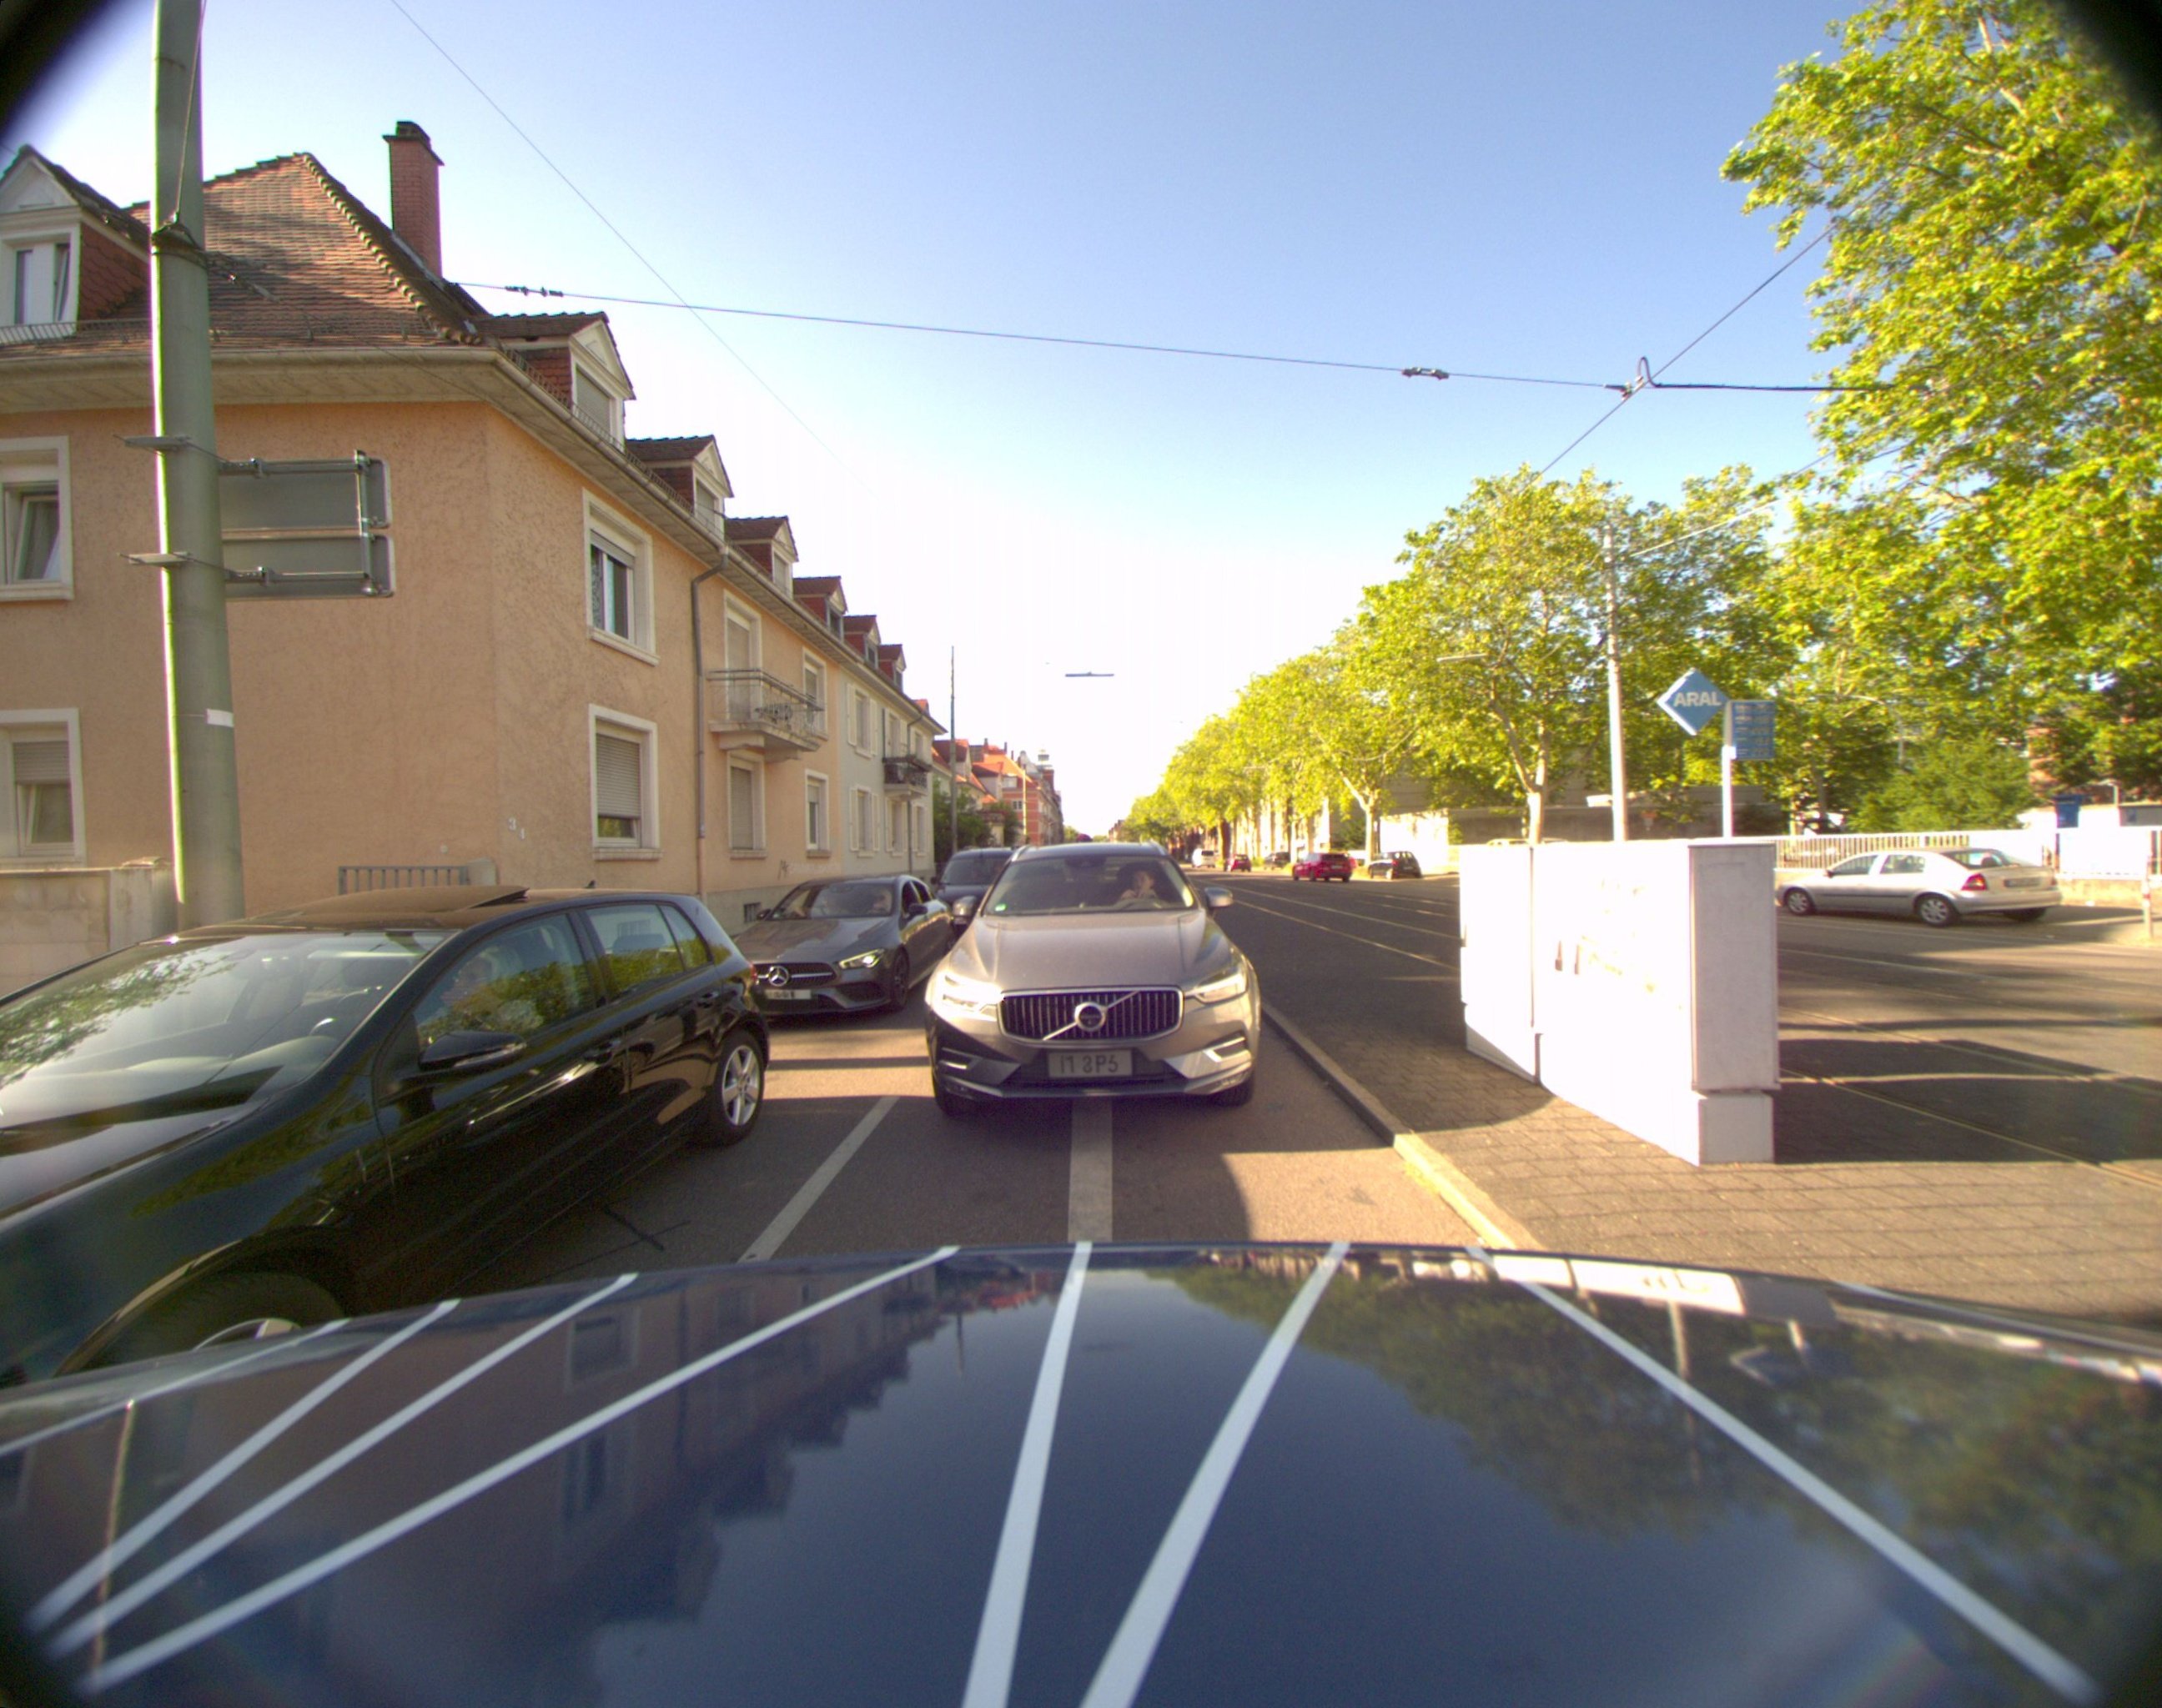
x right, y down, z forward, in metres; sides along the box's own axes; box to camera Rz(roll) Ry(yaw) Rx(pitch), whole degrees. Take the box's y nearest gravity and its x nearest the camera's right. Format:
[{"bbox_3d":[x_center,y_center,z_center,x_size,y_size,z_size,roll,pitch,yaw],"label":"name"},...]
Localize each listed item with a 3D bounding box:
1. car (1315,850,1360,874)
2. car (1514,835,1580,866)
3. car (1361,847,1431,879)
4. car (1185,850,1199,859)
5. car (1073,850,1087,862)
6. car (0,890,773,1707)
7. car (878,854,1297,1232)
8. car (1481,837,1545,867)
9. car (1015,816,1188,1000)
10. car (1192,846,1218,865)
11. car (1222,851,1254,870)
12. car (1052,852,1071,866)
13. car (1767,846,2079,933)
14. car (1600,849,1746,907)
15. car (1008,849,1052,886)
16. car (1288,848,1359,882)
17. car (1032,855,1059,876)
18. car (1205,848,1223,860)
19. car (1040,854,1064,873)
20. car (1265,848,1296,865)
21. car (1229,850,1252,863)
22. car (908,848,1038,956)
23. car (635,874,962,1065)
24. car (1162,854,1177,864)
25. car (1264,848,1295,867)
[{"bbox_3d":[16.939,0.500,50.378,1.700,1.460,3.999,-1,1,1],"label":"car"},{"bbox_3d":[23.585,-0.186,38.548,1.545,1.412,3.151,-2,1,4],"label":"car"},{"bbox_3d":[16.935,0.444,41.057,1.753,1.514,4.434,-5,1,-1],"label":"car"},{"bbox_3d":[18.337,0.024,125.564,1.700,1.401,3.999,-1,1,1],"label":"car"},{"bbox_3d":[-0.155,0.273,106.493,1.841,1.449,3.999,-2,1,1],"label":"car"},{"bbox_3d":[-2.796,0.955,2.611,1.733,1.499,4.051,-2,-1,1],"label":"car"},{"bbox_3d":[0.041,0.893,5.960,1.912,1.666,4.763,-2,1,0],"label":"car"},{"bbox_3d":[21.719,-0.112,38.295,1.545,1.412,3.151,-2,1,4],"label":"car"},{"bbox_3d":[0.239,0.597,11.127,1.912,2.048,4.763,-2,1,0],"label":"car"},{"bbox_3d":[12.828,0.123,78.790,1.850,1.835,4.394,-1,1,-1],"label":"car"},{"bbox_3d":[12.329,0.457,59.862,1.699,1.412,3.999,0,1,1],"label":"car"},{"bbox_3d":[-2.179,0.586,85.440,1.841,1.449,3.999,-2,1,1],"label":"car"},{"bbox_3d":[16.190,0.587,14.979,1.731,1.412,3.999,-2,1,1],"label":"car"},{"bbox_3d":[16.396,0.606,21.234,1.546,1.412,3.254,-2,1,1],"label":"car"},{"bbox_3d":[-2.905,0.723,44.832,1.937,1.888,7.210,-2,1,1],"label":"car"},{"bbox_3d":[11.831,0.491,37.403,1.912,1.514,4.763,0,1,0],"label":"car"},{"bbox_3d":[-2.824,0.887,60.594,1.841,1.449,3.999,-2,1,1],"label":"car"},{"bbox_3d":[17.668,0.009,100.787,1.700,1.548,3.999,-1,1,1],"label":"car"},{"bbox_3d":[-2.528,0.805,67.003,1.841,1.449,3.999,-2,1,1],"label":"car"},{"bbox_3d":[17.288,0.227,65.917,1.700,1.401,3.999,-1,1,1],"label":"car"},{"bbox_3d":[17.520,0.251,83.525,1.700,1.401,3.999,-1,1,1],"label":"car"},{"bbox_3d":[-2.015,0.815,15.640,1.866,1.794,4.778,-2,1,1],"label":"car"},{"bbox_3d":[-2.786,1.059,8.779,1.911,1.411,4.492,-2,1,2],"label":"car"},{"bbox_3d":[13.473,0.749,115.526,1.764,1.487,3.999,-2,1,1],"label":"car"},{"bbox_3d":[17.171,0.320,65.998,1.700,1.566,3.999,-1,1,1],"label":"car"}]
